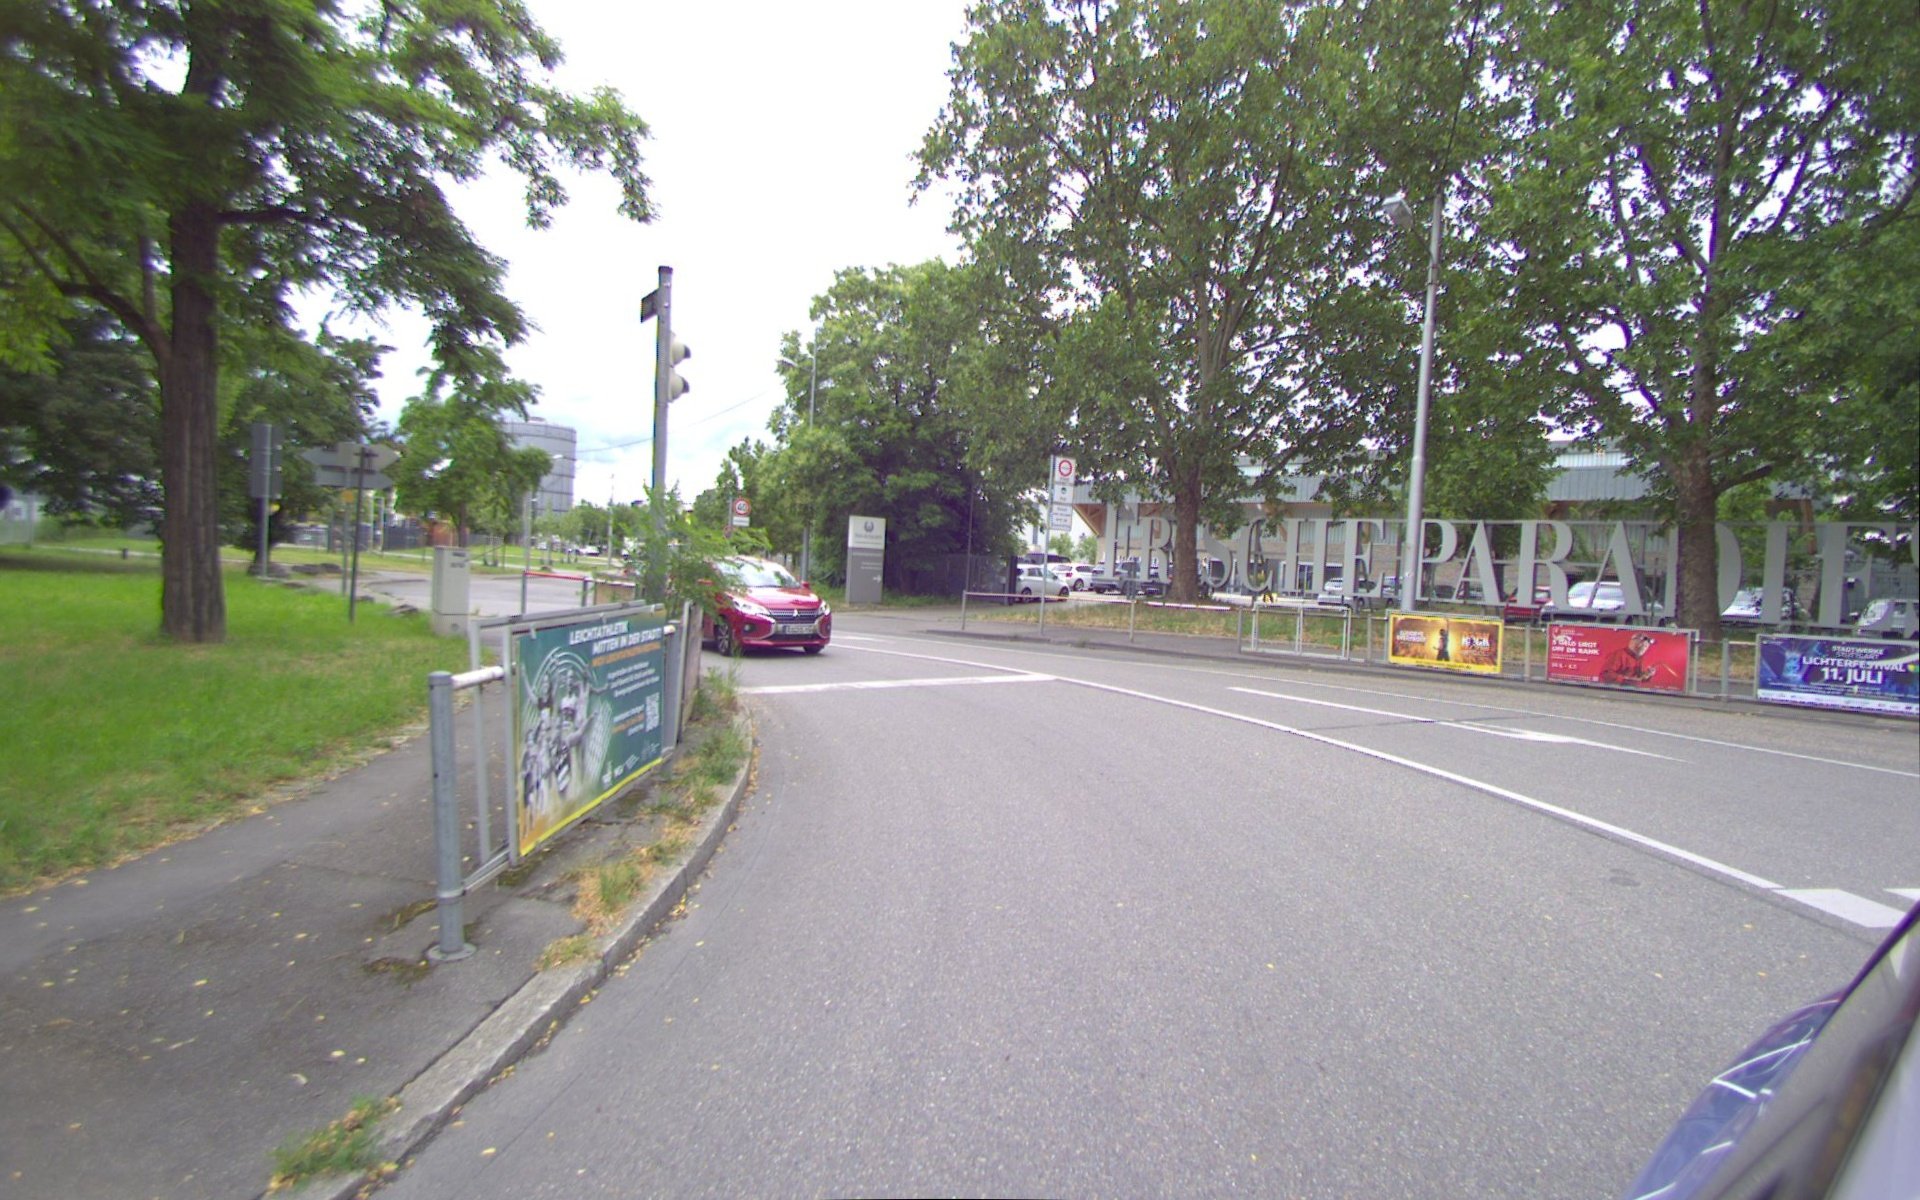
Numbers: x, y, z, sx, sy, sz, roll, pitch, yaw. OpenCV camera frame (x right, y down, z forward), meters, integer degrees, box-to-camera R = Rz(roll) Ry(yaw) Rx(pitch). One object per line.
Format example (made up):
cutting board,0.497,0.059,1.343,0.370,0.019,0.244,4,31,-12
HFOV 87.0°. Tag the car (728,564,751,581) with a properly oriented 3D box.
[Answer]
car,-20.179,-2.480,92.766,1.682,1.424,3.376,3,1,-6

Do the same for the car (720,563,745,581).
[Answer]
car,-19.761,-2.403,88.088,1.682,1.424,3.376,3,1,-6

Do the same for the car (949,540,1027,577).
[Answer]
car,1.792,-2.558,63.259,4.740,2.038,1.997,2,2,-42

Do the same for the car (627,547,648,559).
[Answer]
car,-44.731,-6.487,140.138,2.006,1.555,3.949,2,2,-29

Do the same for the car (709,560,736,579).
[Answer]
car,-19.272,-2.495,82.369,1.682,1.424,3.376,3,1,-6

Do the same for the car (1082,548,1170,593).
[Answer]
car,8.534,-1.514,51.829,4.560,2.038,1.997,2,2,-42

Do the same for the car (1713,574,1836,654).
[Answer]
car,19.089,0.346,23.649,4.244,1.633,1.589,2,2,-43

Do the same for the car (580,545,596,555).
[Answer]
car,-63.029,-8.503,171.564,2.005,1.555,3.950,4,1,-26

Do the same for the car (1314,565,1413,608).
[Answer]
car,17.058,-0.560,42.694,4.560,1.580,1.997,2,2,-42

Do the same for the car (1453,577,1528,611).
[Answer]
car,28.087,-0.318,53.563,4.560,1.580,1.997,2,2,-42

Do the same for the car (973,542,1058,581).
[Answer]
car,3.350,-2.288,60.378,5.014,2.023,1.997,2,2,-42

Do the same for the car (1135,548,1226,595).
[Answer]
car,10.863,-1.355,49.599,4.560,2.038,1.997,2,2,-42

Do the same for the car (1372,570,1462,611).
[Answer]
car,20.733,-0.418,45.800,4.560,1.580,1.997,2,2,-42

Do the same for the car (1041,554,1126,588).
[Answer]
car,6.724,-1.544,54.699,4.560,1.577,1.997,2,2,-42

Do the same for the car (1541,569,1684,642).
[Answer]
car,17.044,0.172,26.360,4.445,1.633,1.882,3,1,-41

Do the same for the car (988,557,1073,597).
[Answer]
car,3.006,-0.953,42.781,1.477,1.523,3.670,5,2,44

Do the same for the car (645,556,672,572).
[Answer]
car,-32.207,-3.835,107.901,2.006,1.554,3.949,-1,4,-28

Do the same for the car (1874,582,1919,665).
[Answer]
car,20.880,0.556,21.632,3.932,1.633,1.589,2,1,-43

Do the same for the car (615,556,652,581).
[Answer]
car,-21.617,-2.110,67.076,2.005,1.554,3.952,0,3,-13

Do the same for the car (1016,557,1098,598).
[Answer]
car,5.541,-1.244,57.299,4.560,2.038,1.997,2,2,-42

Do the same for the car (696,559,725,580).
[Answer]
car,-19.090,-2.327,77.453,1.682,1.424,3.376,3,1,-6

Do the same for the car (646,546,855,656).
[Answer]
car,-3.407,-0.064,15.944,1.701,1.483,3.833,0,3,-38
